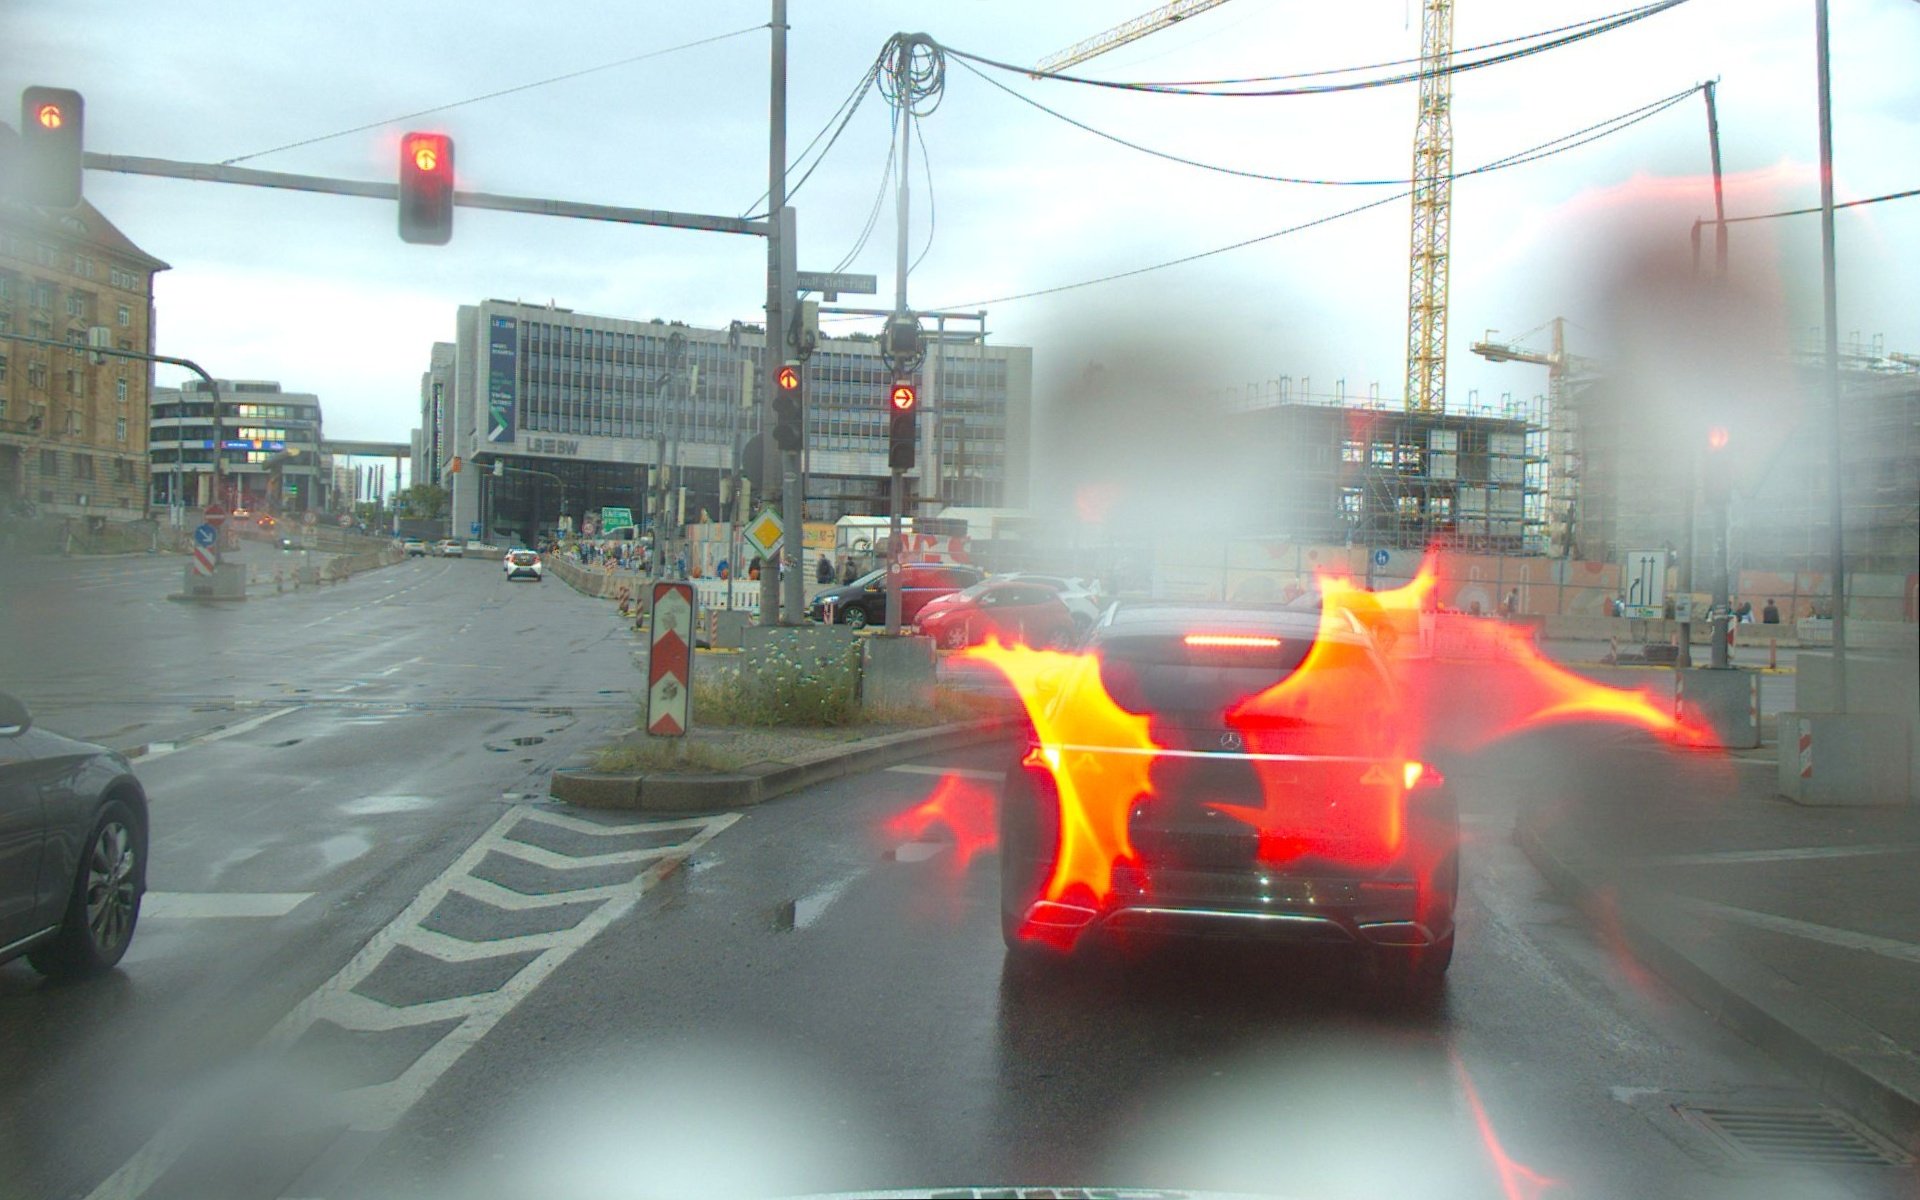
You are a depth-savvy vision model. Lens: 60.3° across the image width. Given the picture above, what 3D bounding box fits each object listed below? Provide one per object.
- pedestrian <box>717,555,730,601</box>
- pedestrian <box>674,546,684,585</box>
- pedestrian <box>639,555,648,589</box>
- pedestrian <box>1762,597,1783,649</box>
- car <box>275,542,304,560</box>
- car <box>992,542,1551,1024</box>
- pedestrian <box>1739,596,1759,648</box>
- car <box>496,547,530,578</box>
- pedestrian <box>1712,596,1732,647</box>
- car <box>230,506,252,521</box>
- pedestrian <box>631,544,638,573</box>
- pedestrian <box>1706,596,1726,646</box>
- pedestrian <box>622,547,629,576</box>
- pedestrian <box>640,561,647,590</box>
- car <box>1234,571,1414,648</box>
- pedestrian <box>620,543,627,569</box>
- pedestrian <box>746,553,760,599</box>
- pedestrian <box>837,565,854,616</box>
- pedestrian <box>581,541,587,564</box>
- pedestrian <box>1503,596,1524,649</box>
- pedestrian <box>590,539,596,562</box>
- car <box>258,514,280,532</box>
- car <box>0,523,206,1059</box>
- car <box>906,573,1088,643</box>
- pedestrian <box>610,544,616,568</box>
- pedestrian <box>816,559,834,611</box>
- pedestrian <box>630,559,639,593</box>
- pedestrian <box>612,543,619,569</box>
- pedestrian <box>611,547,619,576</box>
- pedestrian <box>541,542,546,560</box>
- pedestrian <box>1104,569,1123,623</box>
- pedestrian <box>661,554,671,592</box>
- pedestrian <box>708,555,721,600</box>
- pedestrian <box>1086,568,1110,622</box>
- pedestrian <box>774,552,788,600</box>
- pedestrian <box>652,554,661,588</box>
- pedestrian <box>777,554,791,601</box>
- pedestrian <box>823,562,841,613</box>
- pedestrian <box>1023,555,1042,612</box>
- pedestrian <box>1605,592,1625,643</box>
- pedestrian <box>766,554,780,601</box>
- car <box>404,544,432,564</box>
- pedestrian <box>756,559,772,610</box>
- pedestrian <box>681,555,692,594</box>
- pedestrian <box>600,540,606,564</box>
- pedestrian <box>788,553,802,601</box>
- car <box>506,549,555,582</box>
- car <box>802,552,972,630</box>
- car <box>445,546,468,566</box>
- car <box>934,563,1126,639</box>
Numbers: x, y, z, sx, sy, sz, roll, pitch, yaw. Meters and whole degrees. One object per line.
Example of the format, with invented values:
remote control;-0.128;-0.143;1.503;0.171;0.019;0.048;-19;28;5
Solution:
pedestrian;-10.245;-0.949;71.511;0.356;1.931;0.572;2;-1;-22
pedestrian;-13.808;-1.696;81.264;0.355;1.931;0.573;2;-1;-18
pedestrian;-18.228;-1.608;95.261;0.355;1.931;0.573;2;-1;-18
pedestrian;30.668;0.854;62.401;0.564;1.931;0.361;2;-1;-12
car;-63.955;-4.678;157.735;1.648;1.624;3.569;3;-1;-36
car;1.215;0.646;7.672;1.851;1.571;3.995;2;-1;4
pedestrian;29.901;0.828;62.675;0.564;1.931;0.361;2;-1;-12
car;-28.538;-2.350;105.563;1.961;1.797;4.400;2;-1;-16
pedestrian;29.314;0.816;63.603;0.564;1.931;0.361;2;-1;-12
car;-101.451;-12.245;233.367;1.976;1.847;3.952;3;-1;-34
pedestrian;-22.366;-2.849;113.683;0.355;1.931;0.573;2;-1;-18
pedestrian;29.459;0.831;64.456;0.564;1.931;0.361;2;-1;-12
pedestrian;-22.421;-2.582;110.740;0.355;1.931;0.574;2;-1;-14
pedestrian;-20.896;-1.620;109.150;0.355;1.931;0.573;2;-1;-18
car;9.137;0.251;41.583;3.925;1.738;1.990;2;-1;-19
pedestrian;-25.439;-3.324;125.039;0.355;1.931;0.573;2;-1;-18
pedestrian;-8.637;-0.999;69.080;0.356;1.931;0.572;2;-1;-22
pedestrian;-4.343;-0.359;62.680;0.358;1.931;0.569;3;-1;-37
pedestrian;-31.019;-3.915;136.520;0.355;1.931;0.573;2;-1;-18
pedestrian;20.511;0.823;61.300;0.564;1.931;0.361;2;-1;-12
pedestrian;-30.391;-4.088;136.787;0.355;1.931;0.573;2;-1;-18
car;-89.554;-9.949;214.293;1.974;2.049;3.956;3;-1;-32
car;-3.698;0.548;4.373;1.749;1.627;4.479;2;-1;-7
car;0.769;0.177;35.067;3.481;1.327;1.656;2;-1;-20
pedestrian;-28.219;-3.560;134.448;0.355;1.931;0.573;2;-1;-18
pedestrian;-5.029;-0.572;61.616;0.359;1.931;0.567;3;-1;-44
pedestrian;-19.002;-1.391;96.469;0.355;1.931;0.573;2;-1;-18
pedestrian;-25.987;-3.344;124.835;0.355;1.931;0.573;2;-1;-18
pedestrian;-23.453;-2.602;112.421;0.355;1.931;0.573;2;-1;-18
pedestrian;-44.645;-5.256;177.254;0.355;1.931;0.574;2;-1;-15
pedestrian;5.513;-0.134;59.410;0.564;1.931;0.361;2;-1;-12
pedestrian;-15.425;-1.411;86.826;0.355;1.931;0.573;2;-1;-18
pedestrian;-10.609;-0.980;71.386;0.356;1.931;0.572;2;-1;-22
pedestrian;4.995;-0.173;59.901;0.645;1.934;0.629;2;-1;-15
pedestrian;-7.297;-0.959;67.348;0.356;1.931;0.572;2;-1;-22
pedestrian;-17.473;-1.672;95.257;0.355;1.931;0.573;2;-1;-18
pedestrian;-7.397;-0.938;69.587;0.356;1.931;0.572;2;-1;-22
pedestrian;-4.922;-0.493;63.552;0.562;1.931;0.362;2;-1;13
pedestrian;2.476;-0.549;56.655;0.563;1.931;0.362;2;-1;-3
pedestrian;25.146;0.663;63.518;0.564;1.931;0.361;2;-1;-12
pedestrian;-7.839;-0.931;69.381;0.356;1.931;0.572;2;-1;-22
car;-49.895;-4.224;152.278;1.968;1.668;3.968;2;-1;-25
pedestrian;-7.448;-0.591;62.942;0.357;1.931;0.571;2;-1;-27
pedestrian;-13.464;-1.252;81.409;0.355;1.931;0.573;2;-1;-18
pedestrian;-29.617;-3.961;137.082;0.355;1.931;0.573;2;-1;-18
pedestrian;-6.702;-0.937;67.353;0.356;1.931;0.572;2;-1;-22
car;-21.917;-1.733;84.512;1.745;1.499;3.556;2;-1;-4
car;-1.865;-0.214;42.062;3.924;1.764;1.991;2;-1;-17
car;-47.326;-4.113;155.379;1.704;1.668;3.412;2;3;-23
car;1.618;0.038;38.448;3.981;1.579;1.988;2;-1;-20
